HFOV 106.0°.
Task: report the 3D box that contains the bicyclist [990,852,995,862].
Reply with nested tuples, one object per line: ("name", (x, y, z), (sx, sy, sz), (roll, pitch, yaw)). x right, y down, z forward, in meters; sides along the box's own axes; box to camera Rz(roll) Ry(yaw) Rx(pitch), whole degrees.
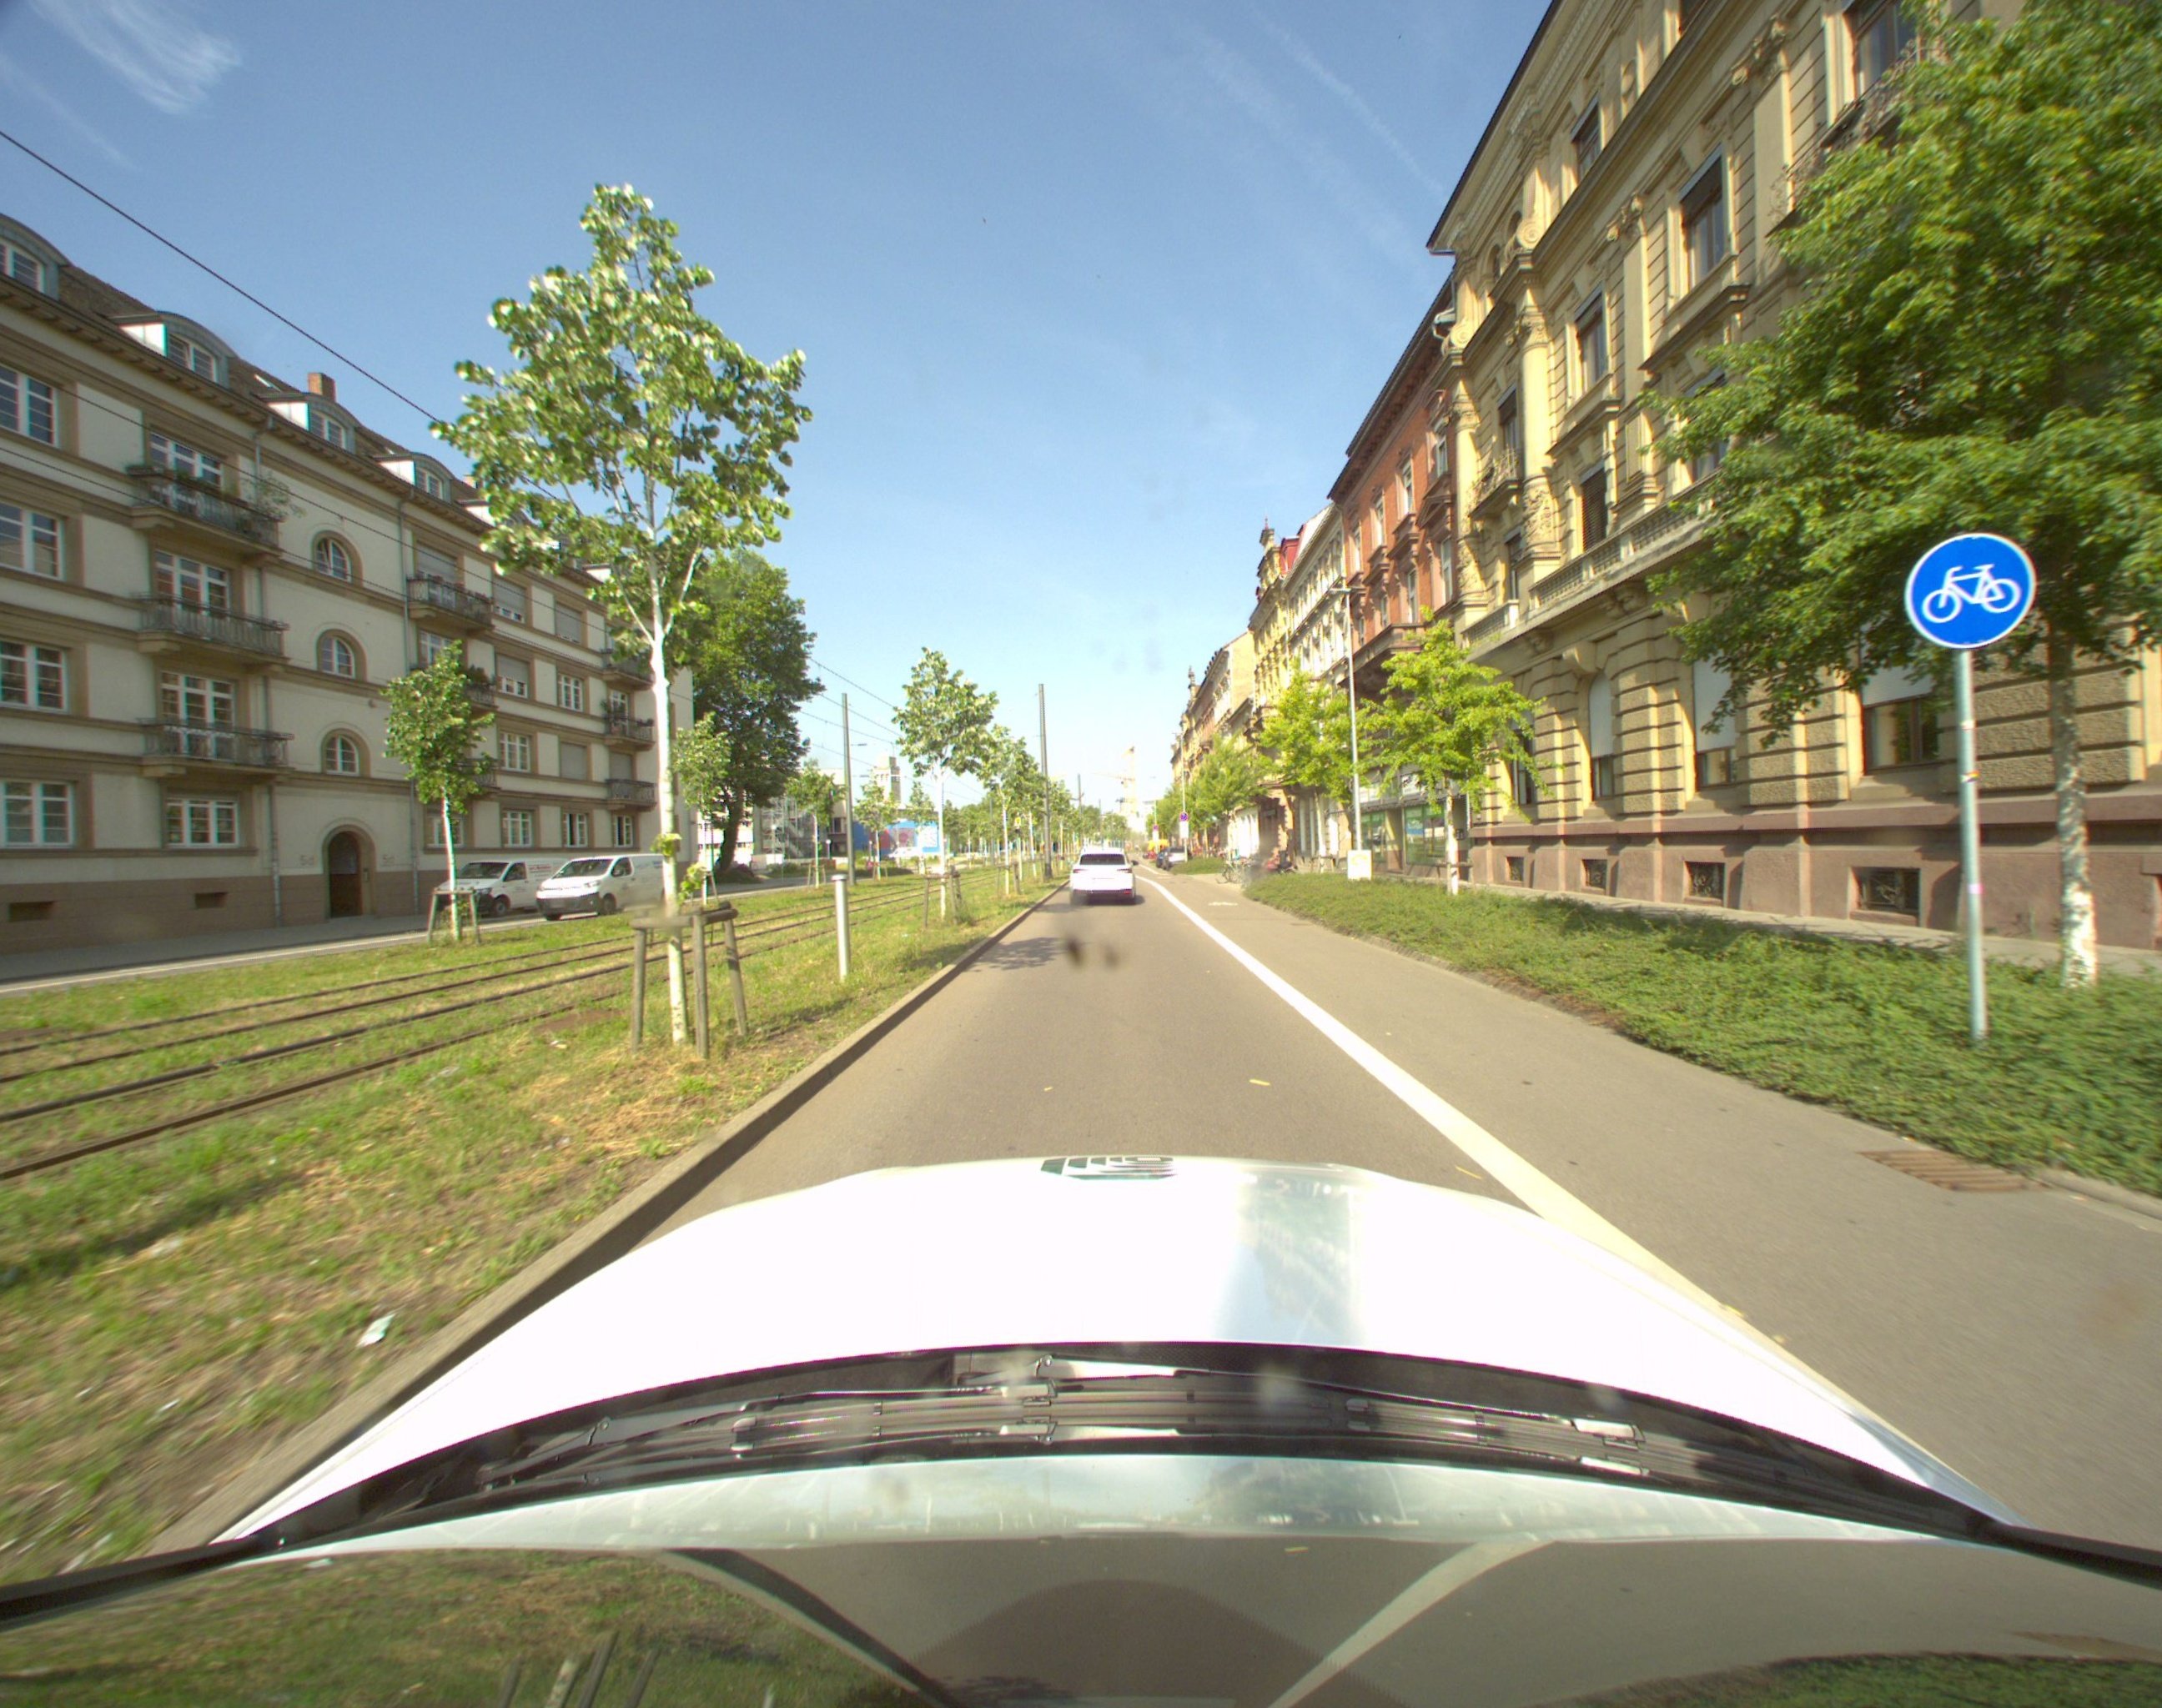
("bicyclist", (-14.558, 0.479, 133.866), (0.644, 1.736, 0.919), (-4, 0, 2))

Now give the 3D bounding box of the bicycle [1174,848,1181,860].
("bicycle", (9.011, -0.041, 76.025), (0.490, 1.093, 1.828), (-2, 0, 2))

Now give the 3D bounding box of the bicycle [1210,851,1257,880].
("bicycle", (6.282, 0.457, 33.590), (1.779, 1.054, 0.373), (-4, 0, 0))

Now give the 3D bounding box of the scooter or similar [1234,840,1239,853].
("scooter or similar", (12.994, -0.632, 68.078), (0.287, 1.134, 1.091), (-2, 0, 8))

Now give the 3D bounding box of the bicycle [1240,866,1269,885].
("bicycle", (6.232, 0.754, 29.240), (0.954, 0.609, 0.361), (-4, 0, 3))

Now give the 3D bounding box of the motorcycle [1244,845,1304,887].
("motorcycle", (6.613, 0.392, 27.850), (2.049, 1.286, 0.698), (-5, 1, -33))

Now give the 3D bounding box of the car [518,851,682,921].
("car", (-15.112, 0.911, 26.015), (1.985, 1.895, 5.050), (-3, 1, 3))

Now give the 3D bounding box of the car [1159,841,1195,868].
("car", (6.386, 0.010, 54.691), (1.764, 1.588, 4.246), (-4, 1, -1))

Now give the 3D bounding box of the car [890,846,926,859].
("car", (-34.717, -0.245, 163.647), (6.895, 2.638, 2.498), (0, 0, -19))

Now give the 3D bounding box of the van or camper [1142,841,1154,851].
("van or camper", (12.489, -1.443, 151.518), (1.986, 1.655, 4.002), (-3, 0, 2))

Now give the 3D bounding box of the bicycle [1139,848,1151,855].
("bicycle", (10.057, -0.429, 128.239), (1.926, 0.986, 0.471), (-4, 0, 3))

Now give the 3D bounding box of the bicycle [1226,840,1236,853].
("bicycle", (13.388, -0.647, 72.557), (0.450, 1.083, 1.445), (-2, 0, -7))

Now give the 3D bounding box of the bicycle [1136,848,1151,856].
("bicycle", (9.703, -0.288, 127.086), (2.229, 1.104, 0.589), (-4, 0, 3))

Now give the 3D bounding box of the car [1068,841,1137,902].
("car", (0.670, 0.445, 23.980), (1.810, 1.590, 4.409), (-1, 0, 2))

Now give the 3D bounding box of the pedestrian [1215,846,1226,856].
("pedestrian", (13.258, -0.268, 77.613), (0.875, 0.876, 0.711), (-4, 0, -1))

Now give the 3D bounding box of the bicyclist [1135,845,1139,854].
("bicyclist", (11.913, -1.062, 173.739), (0.706, 1.895, 0.844), (-2, 0, 3))

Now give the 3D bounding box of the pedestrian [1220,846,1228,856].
("pedestrian", (13.345, -0.263, 75.914), (0.569, 0.854, 0.457), (-5, 0, -4))

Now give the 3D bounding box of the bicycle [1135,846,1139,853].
("bicycle", (11.940, -0.969, 173.899), (0.778, 1.496, 2.803), (-2, 1, 4))

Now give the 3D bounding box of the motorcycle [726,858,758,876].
("motorcycle", (-28.454, 1.110, 68.369), (2.307, 1.369, 0.809), (-2, 0, -35))

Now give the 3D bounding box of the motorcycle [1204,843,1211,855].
("motorcycle", (13.392, -0.525, 86.497), (0.461, 1.175, 1.946), (-4, 0, 3))

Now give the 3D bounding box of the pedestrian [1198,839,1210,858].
("pedestrian", (11.529, -0.514, 76.439), (0.821, 1.696, 0.792), (-4, 0, -2))

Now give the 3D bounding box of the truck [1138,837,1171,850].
("truck", (14.108, -2.041, 155.503), (5.821, 2.318, 2.231), (-2, 0, 20))

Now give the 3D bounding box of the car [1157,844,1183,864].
("car", (6.771, -0.021, 62.309), (1.729, 1.396, 4.719), (-4, 1, 4))

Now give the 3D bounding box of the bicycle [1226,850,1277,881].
("bicycle", (6.674, 0.448, 31.978), (1.803, 1.096, 0.671), (-4, 0, -4))

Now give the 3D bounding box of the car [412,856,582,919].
("car", (-20.131, 1.081, 28.440), (1.985, 1.918, 5.157), (-1, 1, 3))

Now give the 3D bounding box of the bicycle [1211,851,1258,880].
("bicycle", (6.264, 0.458, 33.184), (1.779, 1.054, 0.373), (-4, 0, 0))
